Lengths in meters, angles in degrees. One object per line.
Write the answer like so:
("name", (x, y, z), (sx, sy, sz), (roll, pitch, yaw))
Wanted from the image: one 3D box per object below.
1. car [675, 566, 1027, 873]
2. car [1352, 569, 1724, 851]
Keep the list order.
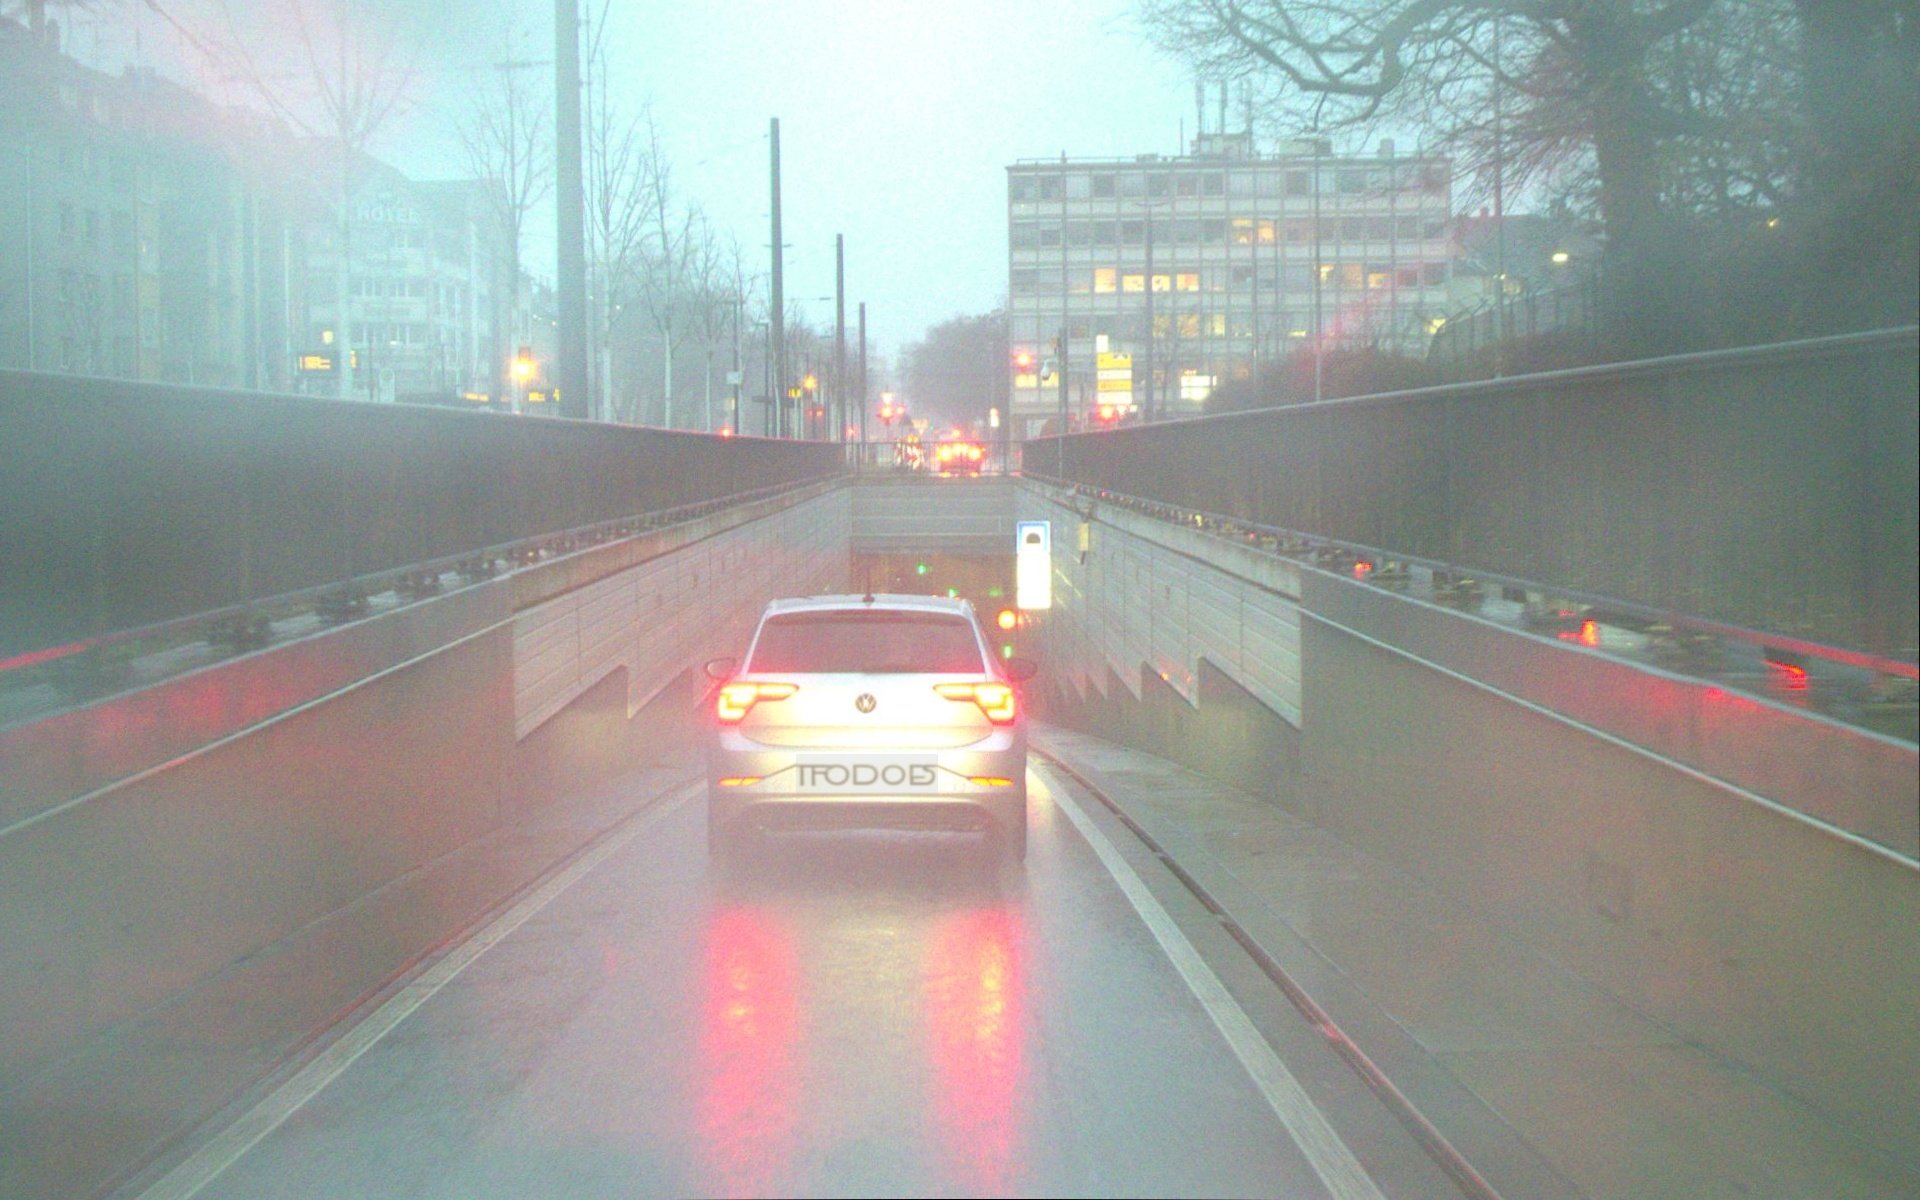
("car", (-0.516, 0.582, 19.395), (1.722, 1.474, 4.000), (2, 1, 1))
("car", (3.532, 0.612, 21.666), (1.722, 1.474, 4.000), (2, 2, 1))
